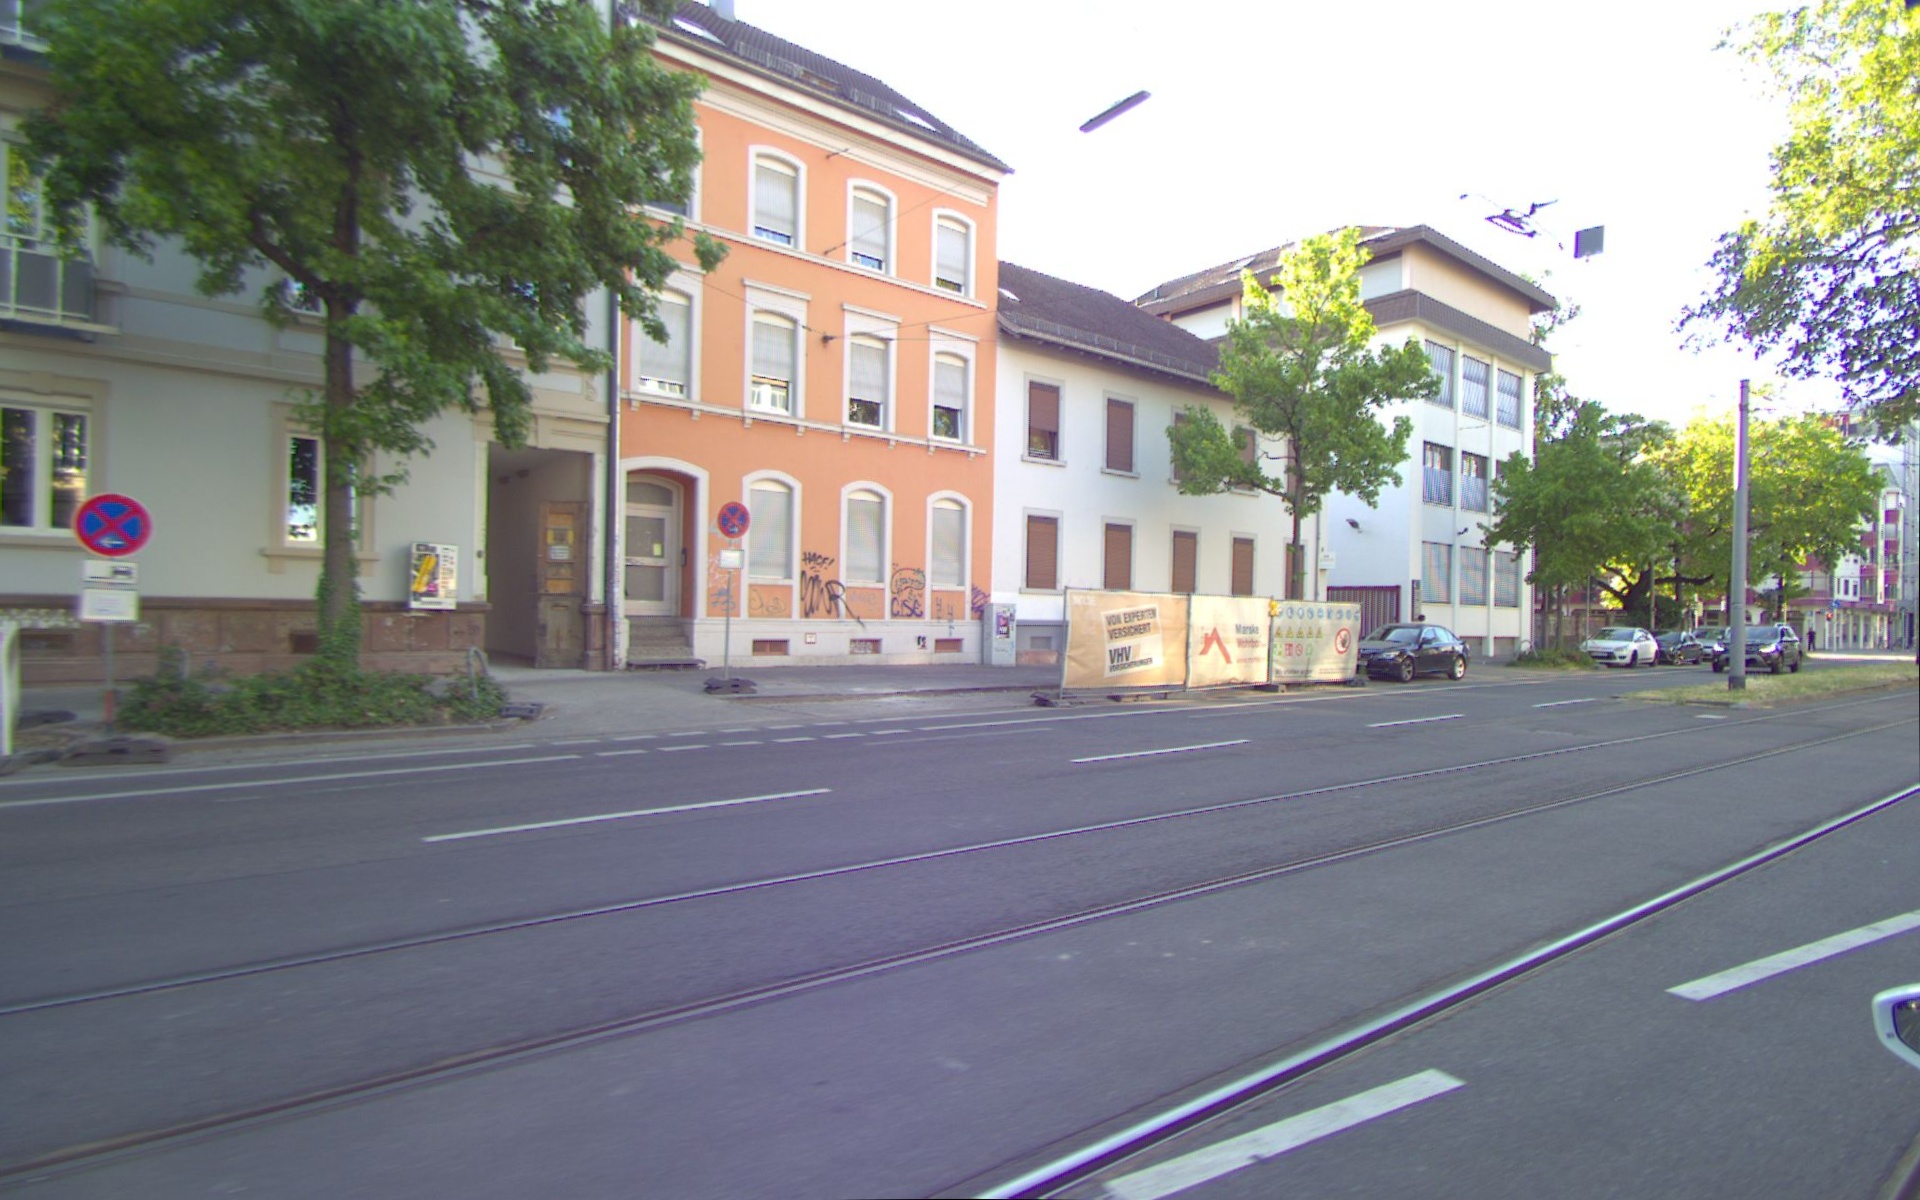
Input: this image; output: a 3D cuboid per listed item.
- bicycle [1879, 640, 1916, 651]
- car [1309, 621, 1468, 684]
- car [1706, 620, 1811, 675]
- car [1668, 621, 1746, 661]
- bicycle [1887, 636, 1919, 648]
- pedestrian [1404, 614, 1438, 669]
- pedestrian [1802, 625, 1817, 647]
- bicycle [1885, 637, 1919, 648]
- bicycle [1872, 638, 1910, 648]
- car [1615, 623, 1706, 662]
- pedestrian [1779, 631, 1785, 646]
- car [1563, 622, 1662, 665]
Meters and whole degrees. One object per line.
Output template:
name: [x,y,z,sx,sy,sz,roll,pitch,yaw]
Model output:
bicycle: [74.862,3.610,80.225,0.488,0.797,2.151,1,-1,-40]
car: [11.480,1.347,26.780,4.685,1.534,1.977,1,-1,-39]
car: [26.798,1.545,33.661,4.275,1.711,1.977,1,-1,-40]
car: [34.233,1.845,46.003,4.144,1.711,1.977,1,-1,-40]
bicycle: [76.515,3.402,81.337,0.488,0.963,2.151,1,-1,-40]
pedestrian: [14.295,1.281,31.155,0.725,1.642,0.631,1,0,-36]
pedestrian: [63.784,2.694,75.416,1.026,1.684,0.702,1,-2,-42]
bicycle: [76.001,3.436,80.952,0.523,0.835,2.151,1,-1,-40]
bicycle: [74.121,3.427,79.961,0.636,0.797,2.151,1,-1,-40]
car: [29.028,1.718,41.574,4.612,1.495,1.977,1,-1,-40]
pedestrian: [63.716,2.981,77.875,0.316,1.230,0.300,1,-2,-43]
car: [24.526,1.612,37.710,4.370,1.490,1.977,1,-1,-40]
